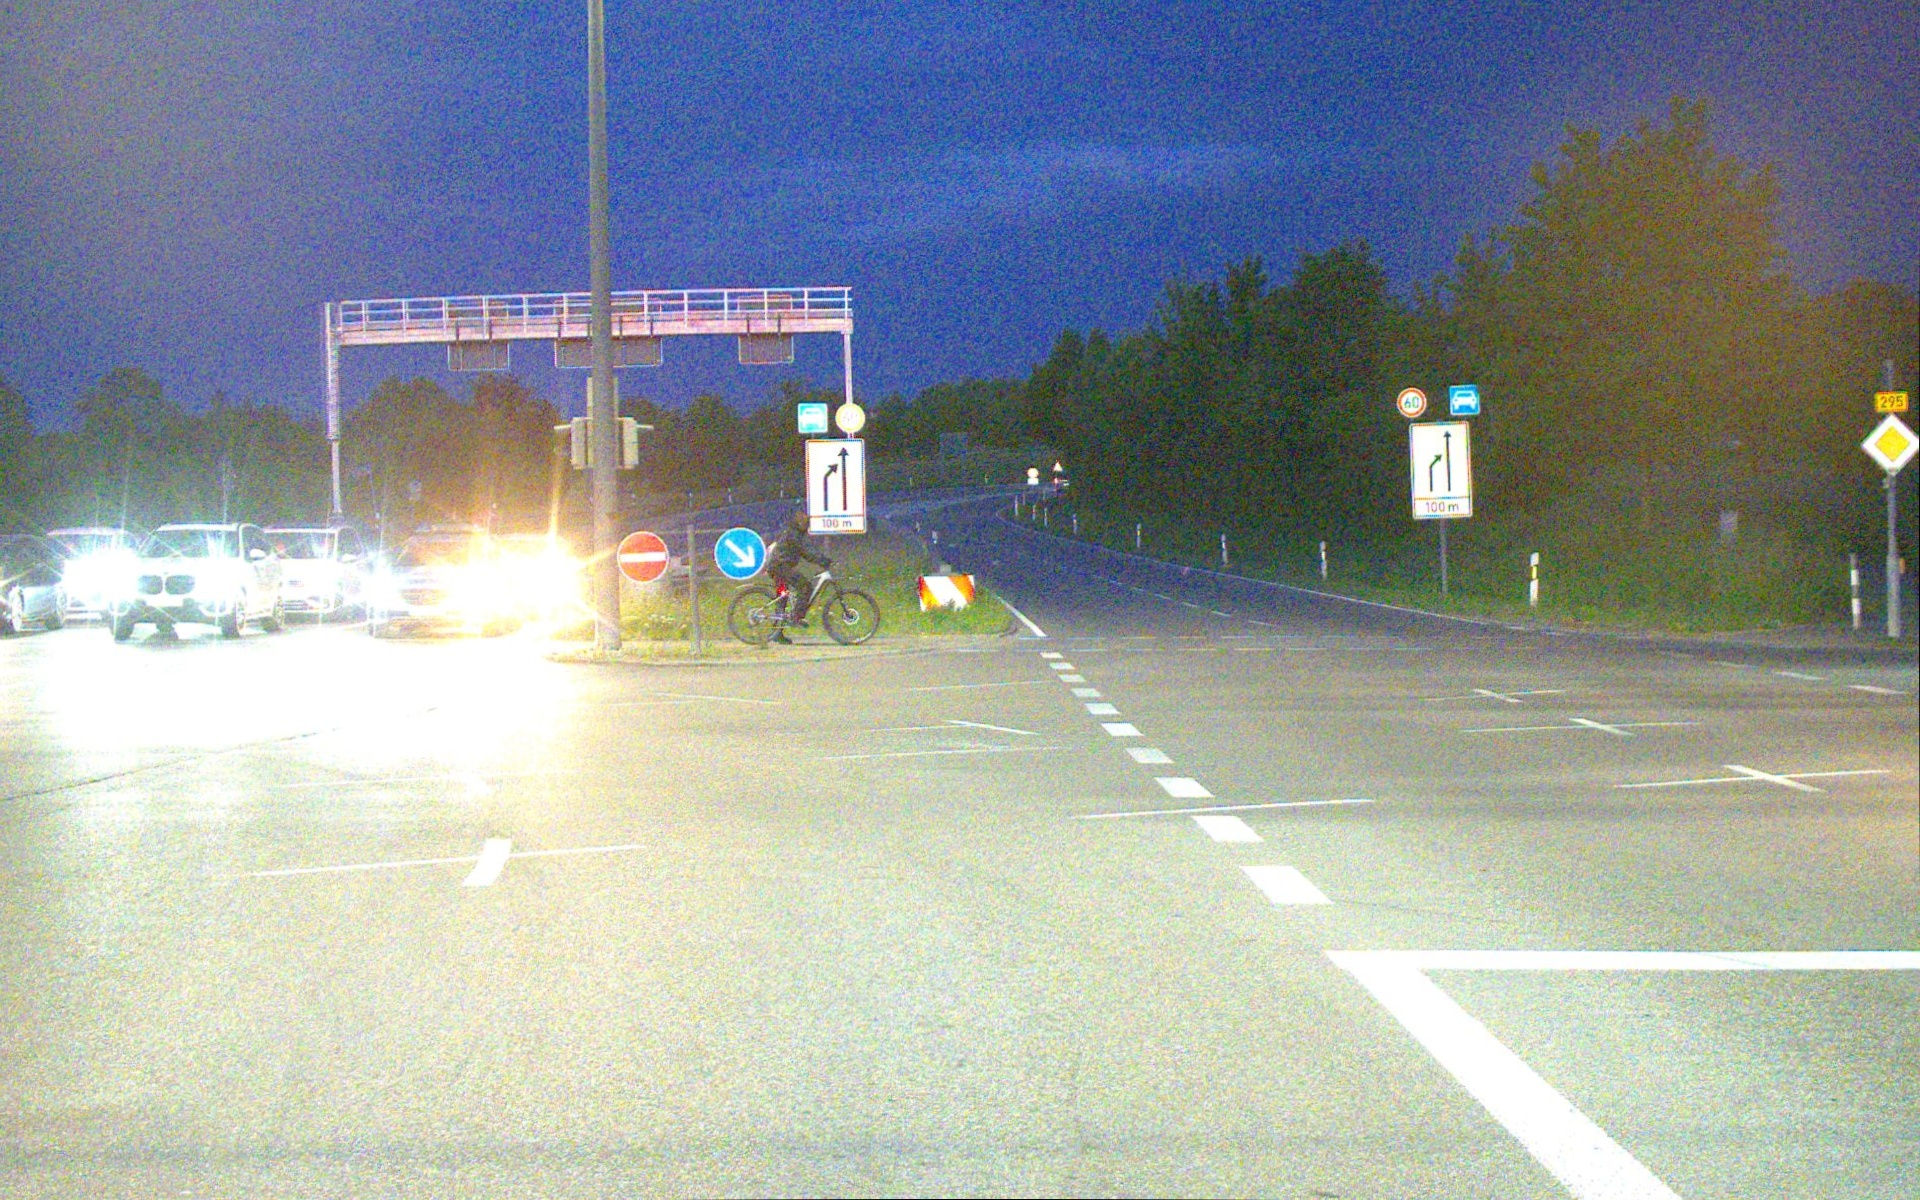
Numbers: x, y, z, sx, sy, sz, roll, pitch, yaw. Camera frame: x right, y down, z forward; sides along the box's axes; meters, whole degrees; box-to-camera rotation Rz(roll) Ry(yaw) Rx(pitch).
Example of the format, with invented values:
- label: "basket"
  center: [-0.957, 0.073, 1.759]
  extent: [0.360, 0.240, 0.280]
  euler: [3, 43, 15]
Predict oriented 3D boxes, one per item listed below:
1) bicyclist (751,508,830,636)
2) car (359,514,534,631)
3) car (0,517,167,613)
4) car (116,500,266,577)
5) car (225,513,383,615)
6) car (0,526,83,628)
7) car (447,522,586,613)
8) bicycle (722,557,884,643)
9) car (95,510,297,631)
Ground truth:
- label: "bicyclist"
  center: [-2.195, -0.362, 44.555]
  extent: [0.997, 1.645, 0.604]
  euler: [0, 1, -5]
- label: "car"
  center: [-7.512, -0.439, 50.725]
  extent: [1.852, 1.627, 4.585]
  euler: [0, 2, 1]
- label: "car"
  center: [-14.793, -0.616, 58.028]
  extent: [1.831, 1.519, 4.000]
  euler: [-1, 2, 0]
- label: "car"
  center: [-14.640, -1.197, 65.666]
  extent: [1.831, 1.385, 4.397]
  euler: [-1, 2, 0]
- label: "car"
  center: [-11.022, -0.638, 58.031]
  extent: [1.745, 1.621, 4.363]
  euler: [0, 2, 1]
- label: "car"
  center: [-14.698, -0.380, 51.672]
  extent: [1.780, 1.441, 4.291]
  euler: [0, 2, 2]
- label: "car"
  center: [-7.531, -0.579, 58.687]
  extent: [1.773, 1.476, 3.910]
  euler: [1, 1, 1]
- label: "bicycle"
  center: [-2.040, -0.002, 44.561]
  extent: [2.061, 1.097, 0.695]
  euler: [0, 1, -5]
- label: "car"
  center: [-11.186, -0.474, 50.615]
  extent: [1.908, 1.676, 4.420]
  euler: [0, 2, 1]
